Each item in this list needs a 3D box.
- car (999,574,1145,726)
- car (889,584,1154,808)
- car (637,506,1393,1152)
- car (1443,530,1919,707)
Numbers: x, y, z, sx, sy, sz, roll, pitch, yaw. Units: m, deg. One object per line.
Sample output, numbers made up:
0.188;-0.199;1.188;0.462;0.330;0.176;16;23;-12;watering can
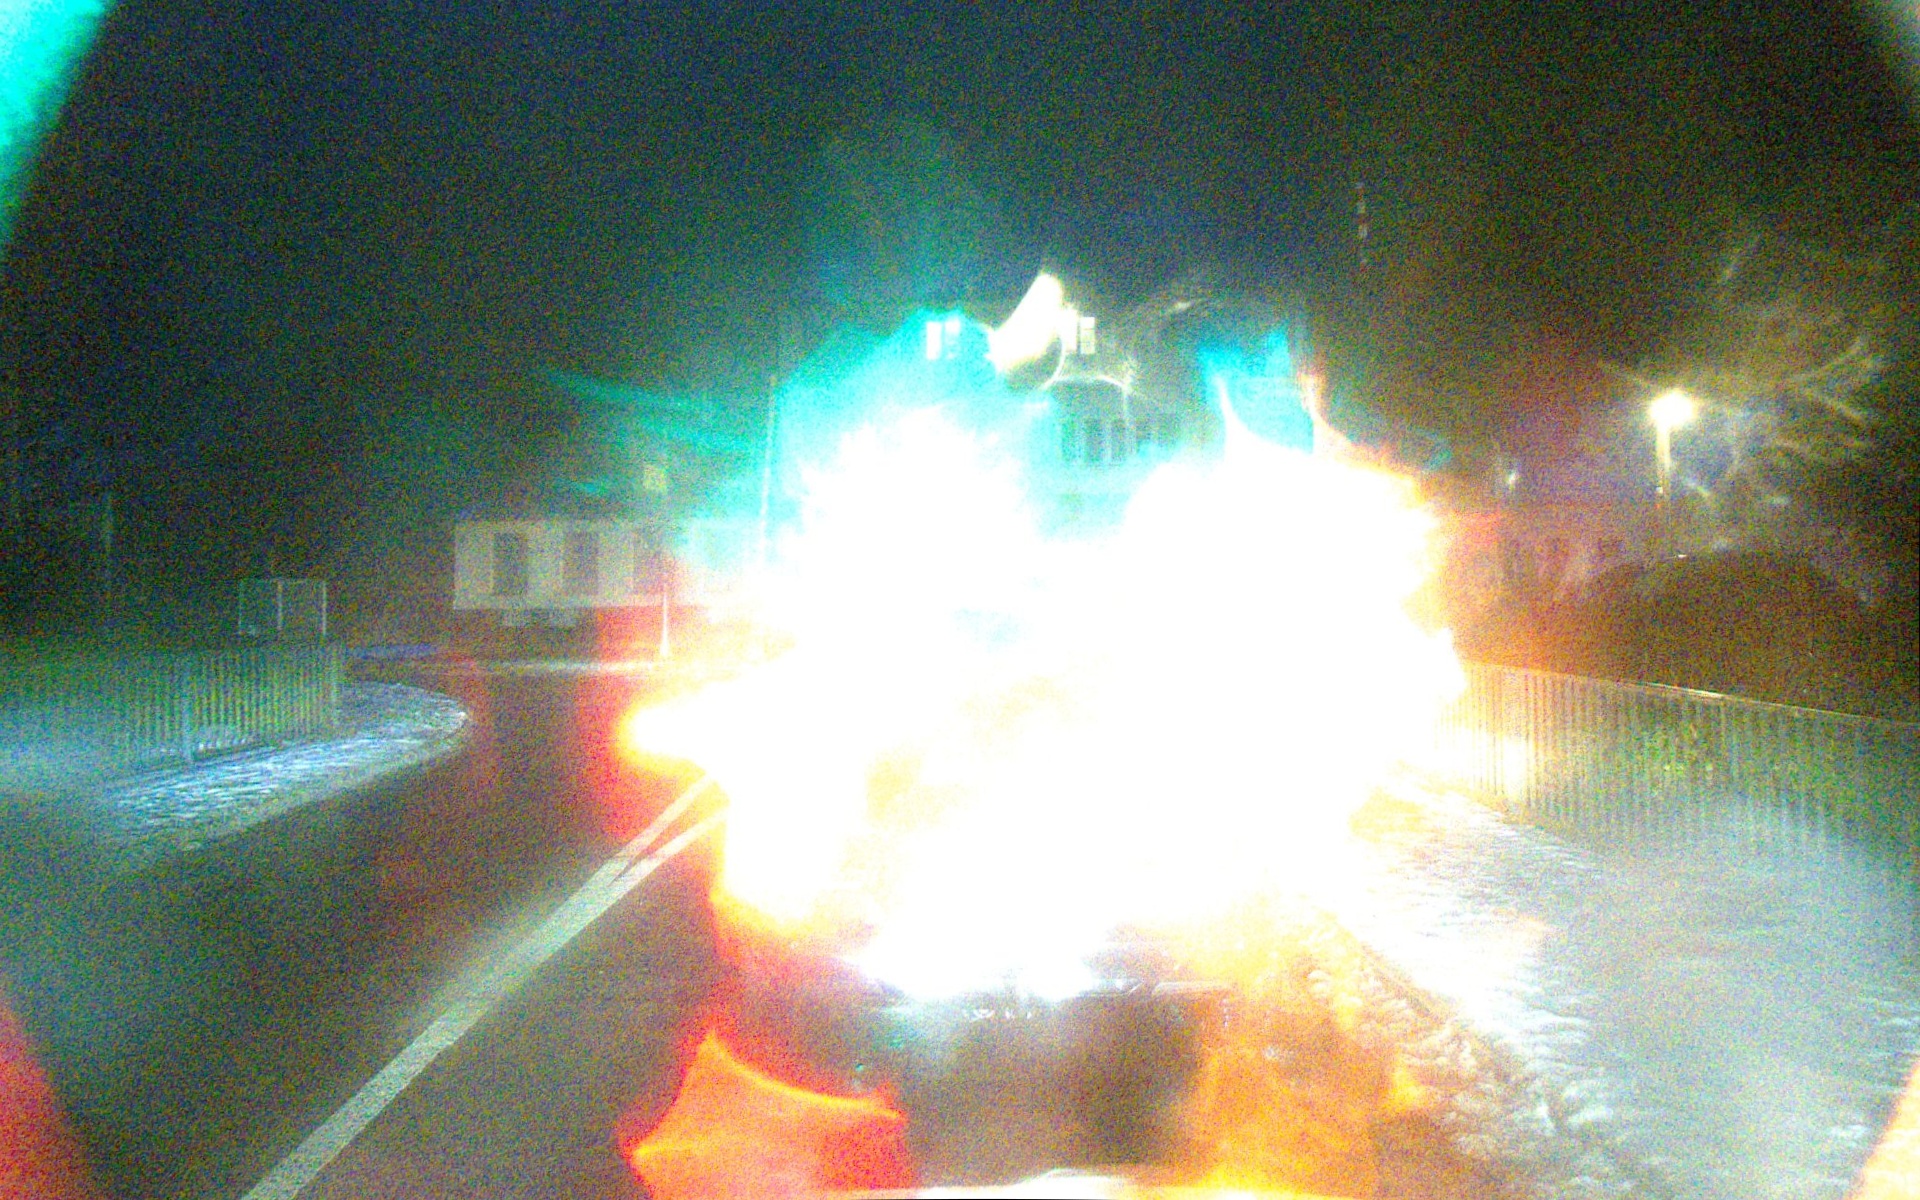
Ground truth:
1.789;0.652;25.090;1.733;1.980;4.258;4;2;9;car
0.442;0.678;14.193;1.871;1.536;4.241;-3;1;0;car
0.126;0.624;6.554;2.016;1.707;4.138;1;0;-1;car
7.678;0.193;18.062;4.372;1.613;1.941;-3;1;10;car
